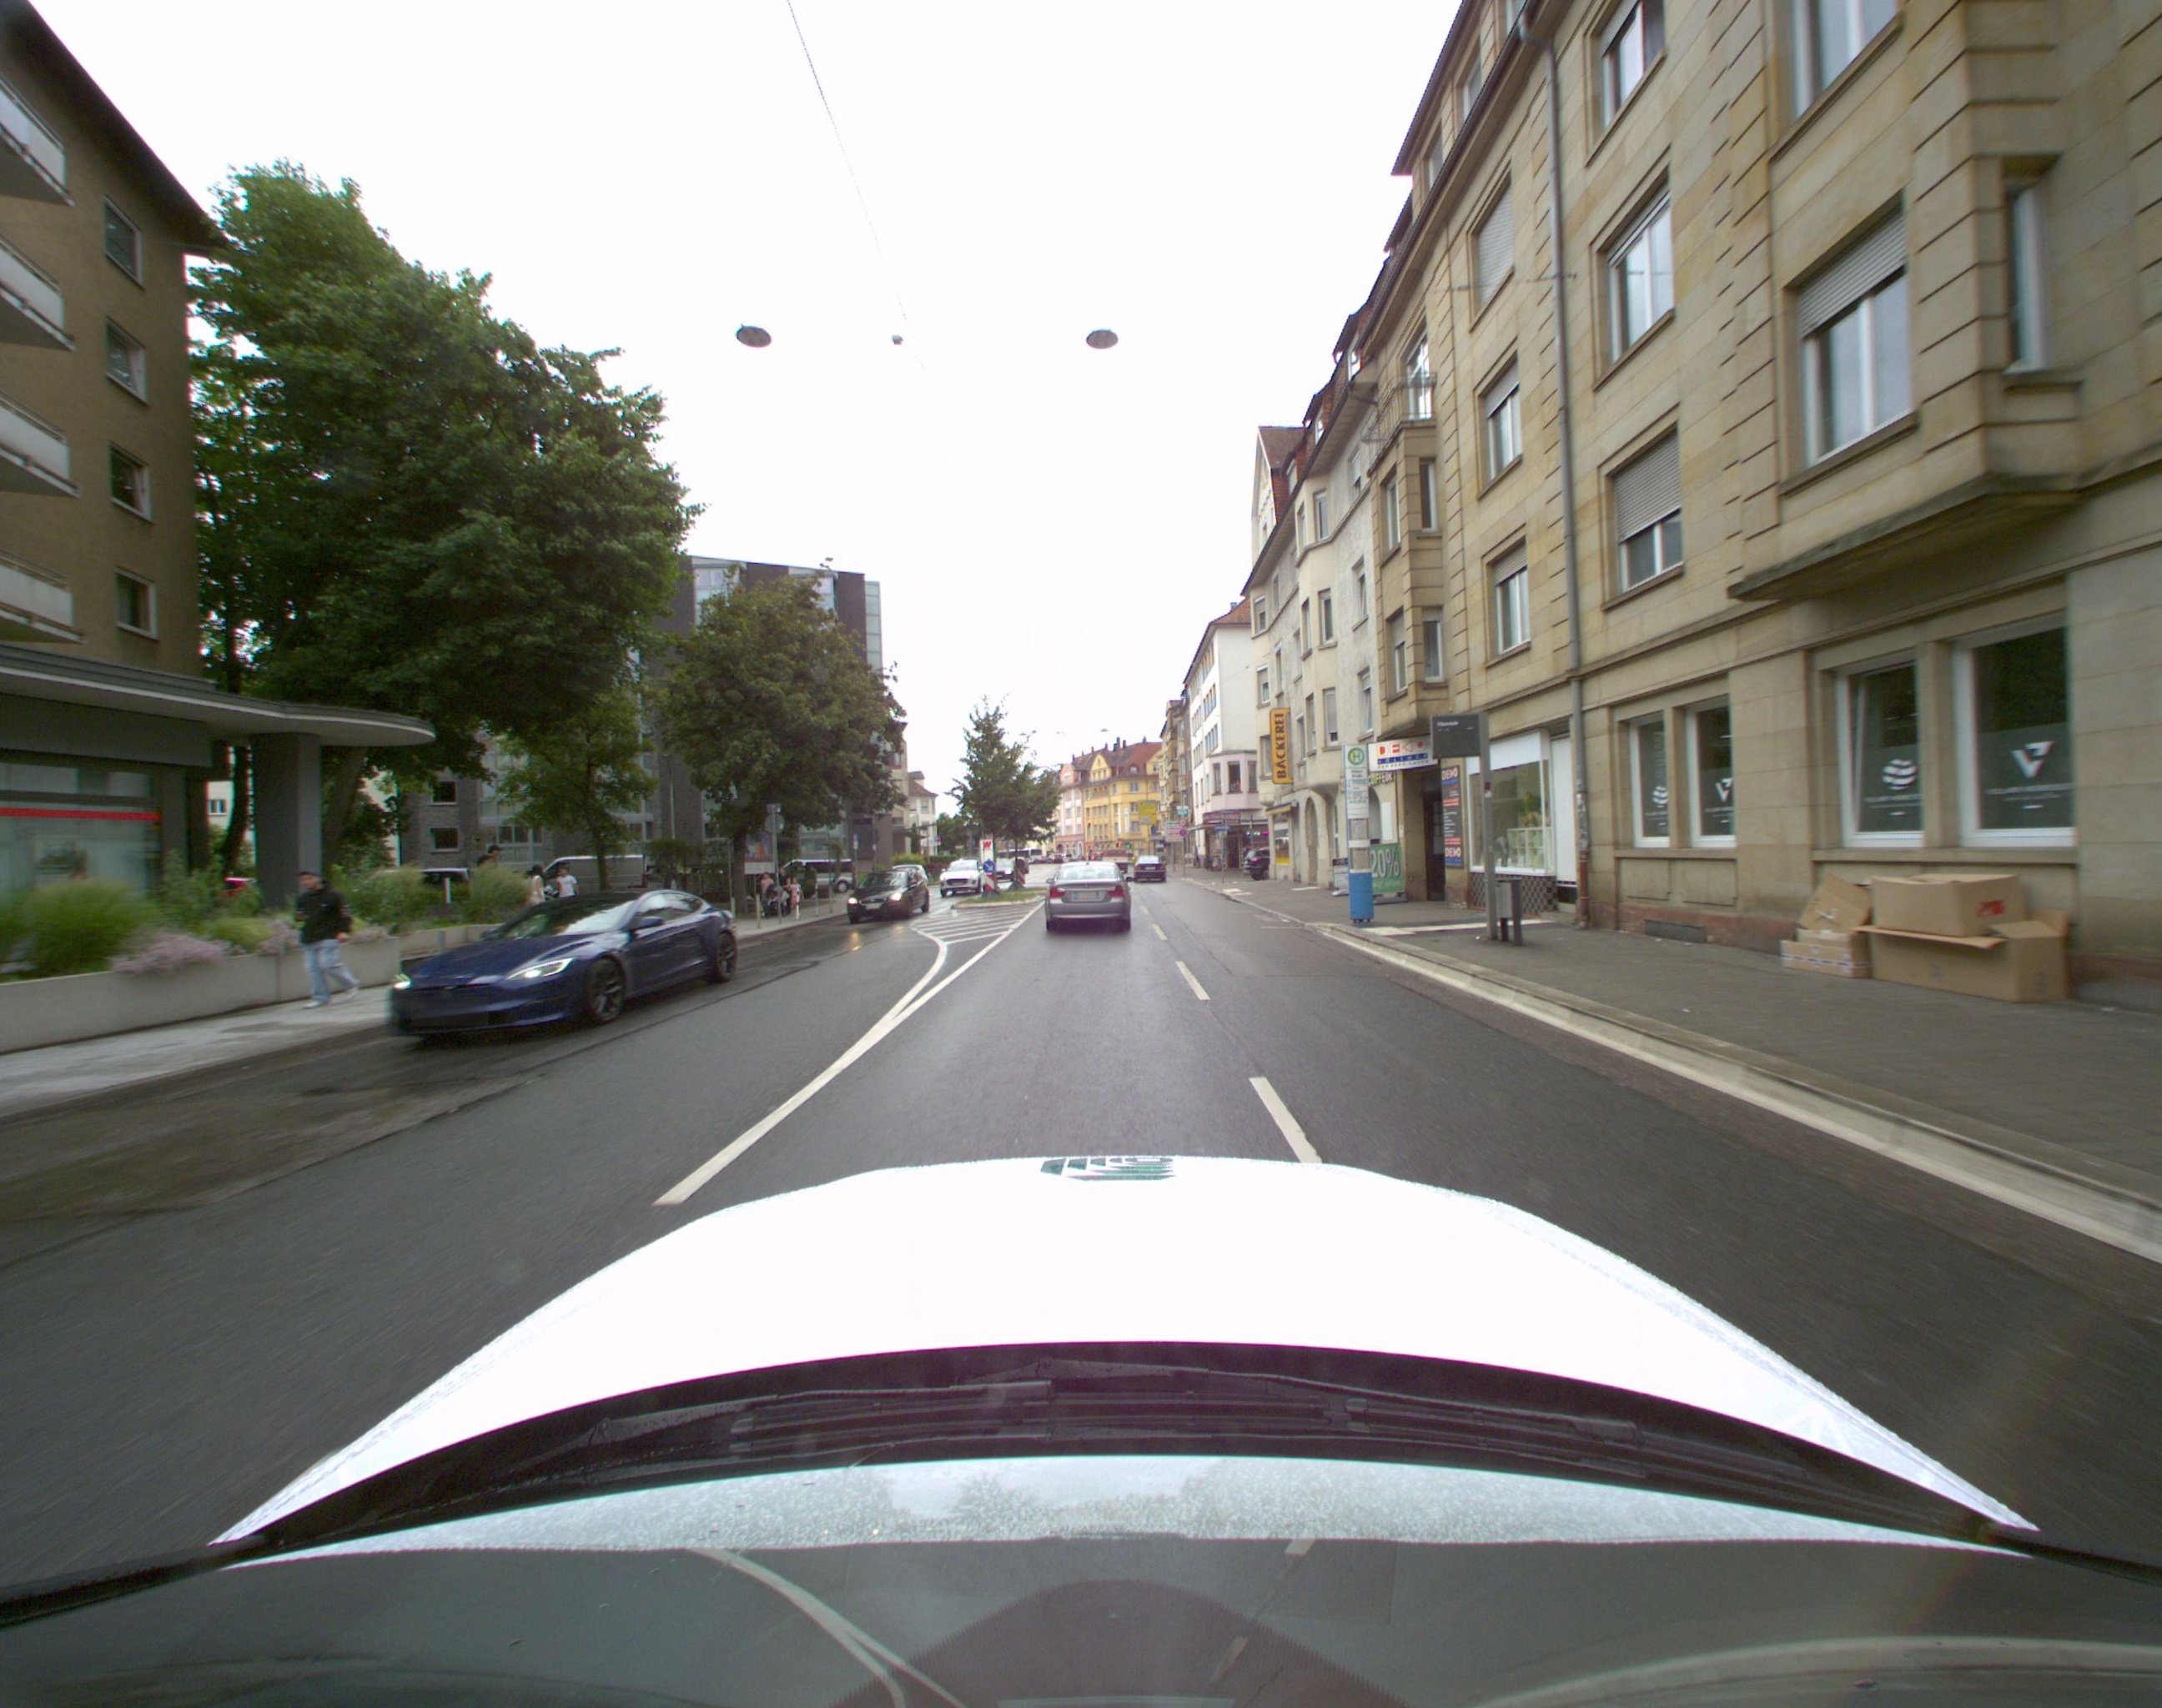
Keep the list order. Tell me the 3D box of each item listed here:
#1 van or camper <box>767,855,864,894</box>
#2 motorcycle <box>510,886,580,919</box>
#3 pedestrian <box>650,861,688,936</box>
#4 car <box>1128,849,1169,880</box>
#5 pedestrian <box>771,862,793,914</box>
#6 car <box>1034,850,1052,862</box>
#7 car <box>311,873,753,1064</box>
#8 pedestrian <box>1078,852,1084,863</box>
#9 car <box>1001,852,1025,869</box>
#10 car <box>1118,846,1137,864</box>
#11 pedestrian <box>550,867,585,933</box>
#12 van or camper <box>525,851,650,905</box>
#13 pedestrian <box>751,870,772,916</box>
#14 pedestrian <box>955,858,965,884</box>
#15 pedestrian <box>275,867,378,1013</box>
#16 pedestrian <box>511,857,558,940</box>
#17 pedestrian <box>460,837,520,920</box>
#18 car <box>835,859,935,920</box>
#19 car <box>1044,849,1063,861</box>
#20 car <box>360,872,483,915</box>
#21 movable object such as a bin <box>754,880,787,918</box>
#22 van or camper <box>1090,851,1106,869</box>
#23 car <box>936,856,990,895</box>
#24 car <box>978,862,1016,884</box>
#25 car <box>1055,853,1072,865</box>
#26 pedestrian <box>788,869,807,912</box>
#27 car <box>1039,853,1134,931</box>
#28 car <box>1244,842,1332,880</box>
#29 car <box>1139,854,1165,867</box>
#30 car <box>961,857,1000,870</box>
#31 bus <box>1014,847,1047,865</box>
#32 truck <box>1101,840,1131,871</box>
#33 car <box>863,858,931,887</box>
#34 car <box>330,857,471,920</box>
[{"bbox_3d":[-15.059,1.134,46.247,4.980,2.013,1.982,-1,0,-28],"label":"van or camper"},{"bbox_3d":[-17.825,1.604,27.101,2.036,0.987,0.800,1,1,16],"label":"motorcycle"},{"bbox_3d":[-10.452,1.108,20.693,0.724,1.826,0.848,-1,1,-21],"label":"pedestrian"},{"bbox_3d":[3.569,0.556,43.676,1.794,1.563,3.998,-2,-1,-1],"label":"car"},{"bbox_3d":[-9.918,1.114,27.054,0.496,1.673,0.552,-2,0,-2],"label":"pedestrian"},{"bbox_3d":[-6.513,0.401,140.699,2.000,2.013,3.973,-2,0,-20],"label":"car"},{"bbox_3d":[-6.084,1.114,10.008,1.948,1.511,4.913,-4,0,1],"label":"car"},{"bbox_3d":[0.017,0.469,112.447,0.763,1.529,0.505,0,-1,-19],"label":"pedestrian"},{"bbox_3d":[-6.671,0.600,79.348,1.949,1.659,4.041,0,0,-11],"label":"car"},{"bbox_3d":[5.476,0.120,96.674,1.987,2.013,4.000,-2,0,1],"label":"car"},{"bbox_3d":[-14.672,1.301,23.290,0.725,1.826,0.716,-1,1,-27],"label":"pedestrian"},{"bbox_3d":[-21.888,1.012,36.394,4.629,2.266,2.192,0,0,-28],"label":"van or camper"},{"bbox_3d":[-10.627,1.291,27.100,0.458,1.473,0.530,-2,0,-2],"label":"pedestrian"},{"bbox_3d":[-8.409,1.198,56.544,0.573,1.762,0.580,-2,0,-5],"label":"pedestrian"},{"bbox_3d":[-10.008,1.098,10.829,0.723,1.826,0.717,-1,0,-18],"label":"pedestrian"},{"bbox_3d":[-12.085,0.964,18.026,0.657,1.759,0.716,-2,0,-22],"label":"pedestrian"},{"bbox_3d":[-13.645,0.556,18.829,0.860,1.844,0.691,-2,0,-13],"label":"pedestrian"},{"bbox_3d":[-5.790,0.996,24.590,1.949,1.557,4.243,-2,0,0],"label":"car"},{"bbox_3d":[-4.514,0.167,134.981,2.000,2.013,3.974,-2,0,-19],"label":"car"},{"bbox_3d":[-30.716,1.790,38.099,4.006,1.728,1.984,-2,0,-24],"label":"car"},{"bbox_3d":[-9.970,1.440,26.198,0.701,1.134,0.965,-1,0,-2],"label":"movable object such as a bin"},{"bbox_3d":[2.074,0.746,99.567,1.849,2.146,4.140,0,0,-1],"label":"van or camper"},{"bbox_3d":[-5.439,0.958,37.941,1.813,1.569,4.089,-3,0,0],"label":"car"},{"bbox_3d":[-5.664,1.273,55.479,2.006,1.425,4.501,0,0,2],"label":"car"},{"bbox_3d":[-3.156,0.954,148.868,1.770,2.180,3.968,1,-1,-24],"label":"car"},{"bbox_3d":[-9.401,1.199,27.003,0.432,1.410,0.481,-2,0,-2],"label":"pedestrian"},{"bbox_3d":[0.123,0.741,17.888,1.793,1.464,4.371,-2,0,0],"label":"car"},{"bbox_3d":[10.421,0.347,41.208,4.114,1.772,1.878,-2,0,8],"label":"car"},{"bbox_3d":[11.390,1.050,130.499,3.962,2.014,2.006,0,-1,10],"label":"car"},{"bbox_3d":[-11.738,1.069,95.735,4.436,1.526,1.883,0,0,-4],"label":"car"},{"bbox_3d":[-9.277,0.400,148.636,2.923,3.105,9.068,-3,0,-25],"label":"bus"},{"bbox_3d":[2.667,0.116,63.219,2.216,2.249,5.064,-1,0,1],"label":"truck"},{"bbox_3d":[-10.967,1.094,48.580,3.601,1.569,1.723,-1,0,-32],"label":"car"},{"bbox_3d":[-27.984,1.372,33.661,4.009,2.255,1.983,-3,0,-27],"label":"car"}]
